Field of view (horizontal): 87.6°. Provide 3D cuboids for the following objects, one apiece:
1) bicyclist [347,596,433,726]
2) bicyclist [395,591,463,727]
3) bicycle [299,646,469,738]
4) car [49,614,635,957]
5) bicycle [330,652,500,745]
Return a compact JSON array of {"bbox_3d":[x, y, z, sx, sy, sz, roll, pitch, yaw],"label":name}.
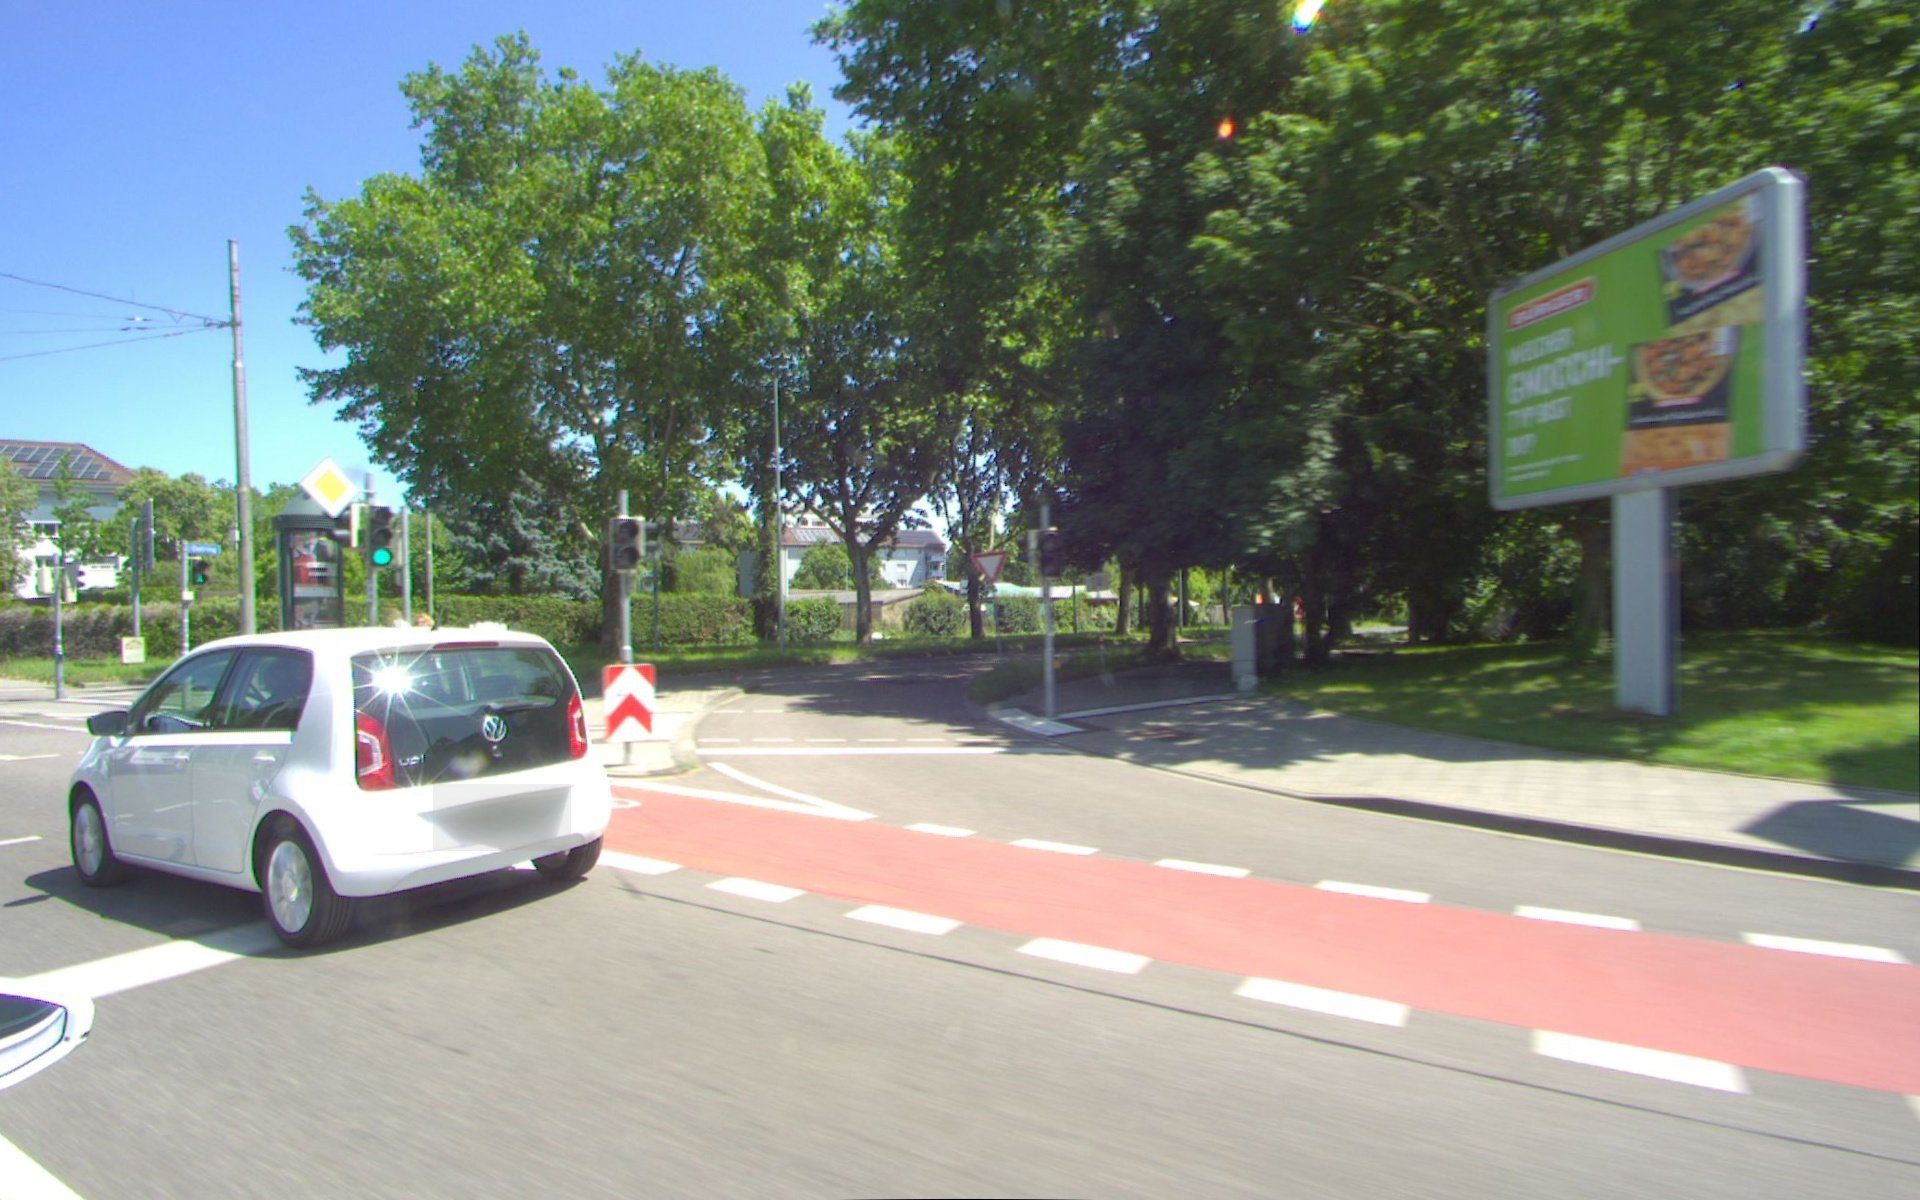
[{"bbox_3d":[-8.252,0.864,14.501,0.963,1.811,0.722,-1,-1,34],"label":"bicyclist"},{"bbox_3d":[-7.314,0.805,13.791,0.758,1.810,0.574,-1,-2,39],"label":"bicyclist"},{"bbox_3d":[-8.284,1.282,14.477,0.883,1.174,1.945,-2,-1,34],"label":"bicycle"},{"bbox_3d":[-3.696,0.847,5.891,3.386,1.466,1.607,-1,-2,32],"label":"car"},{"bbox_3d":[-7.408,1.297,13.675,0.884,1.139,1.859,-2,-2,39],"label":"bicycle"}]
